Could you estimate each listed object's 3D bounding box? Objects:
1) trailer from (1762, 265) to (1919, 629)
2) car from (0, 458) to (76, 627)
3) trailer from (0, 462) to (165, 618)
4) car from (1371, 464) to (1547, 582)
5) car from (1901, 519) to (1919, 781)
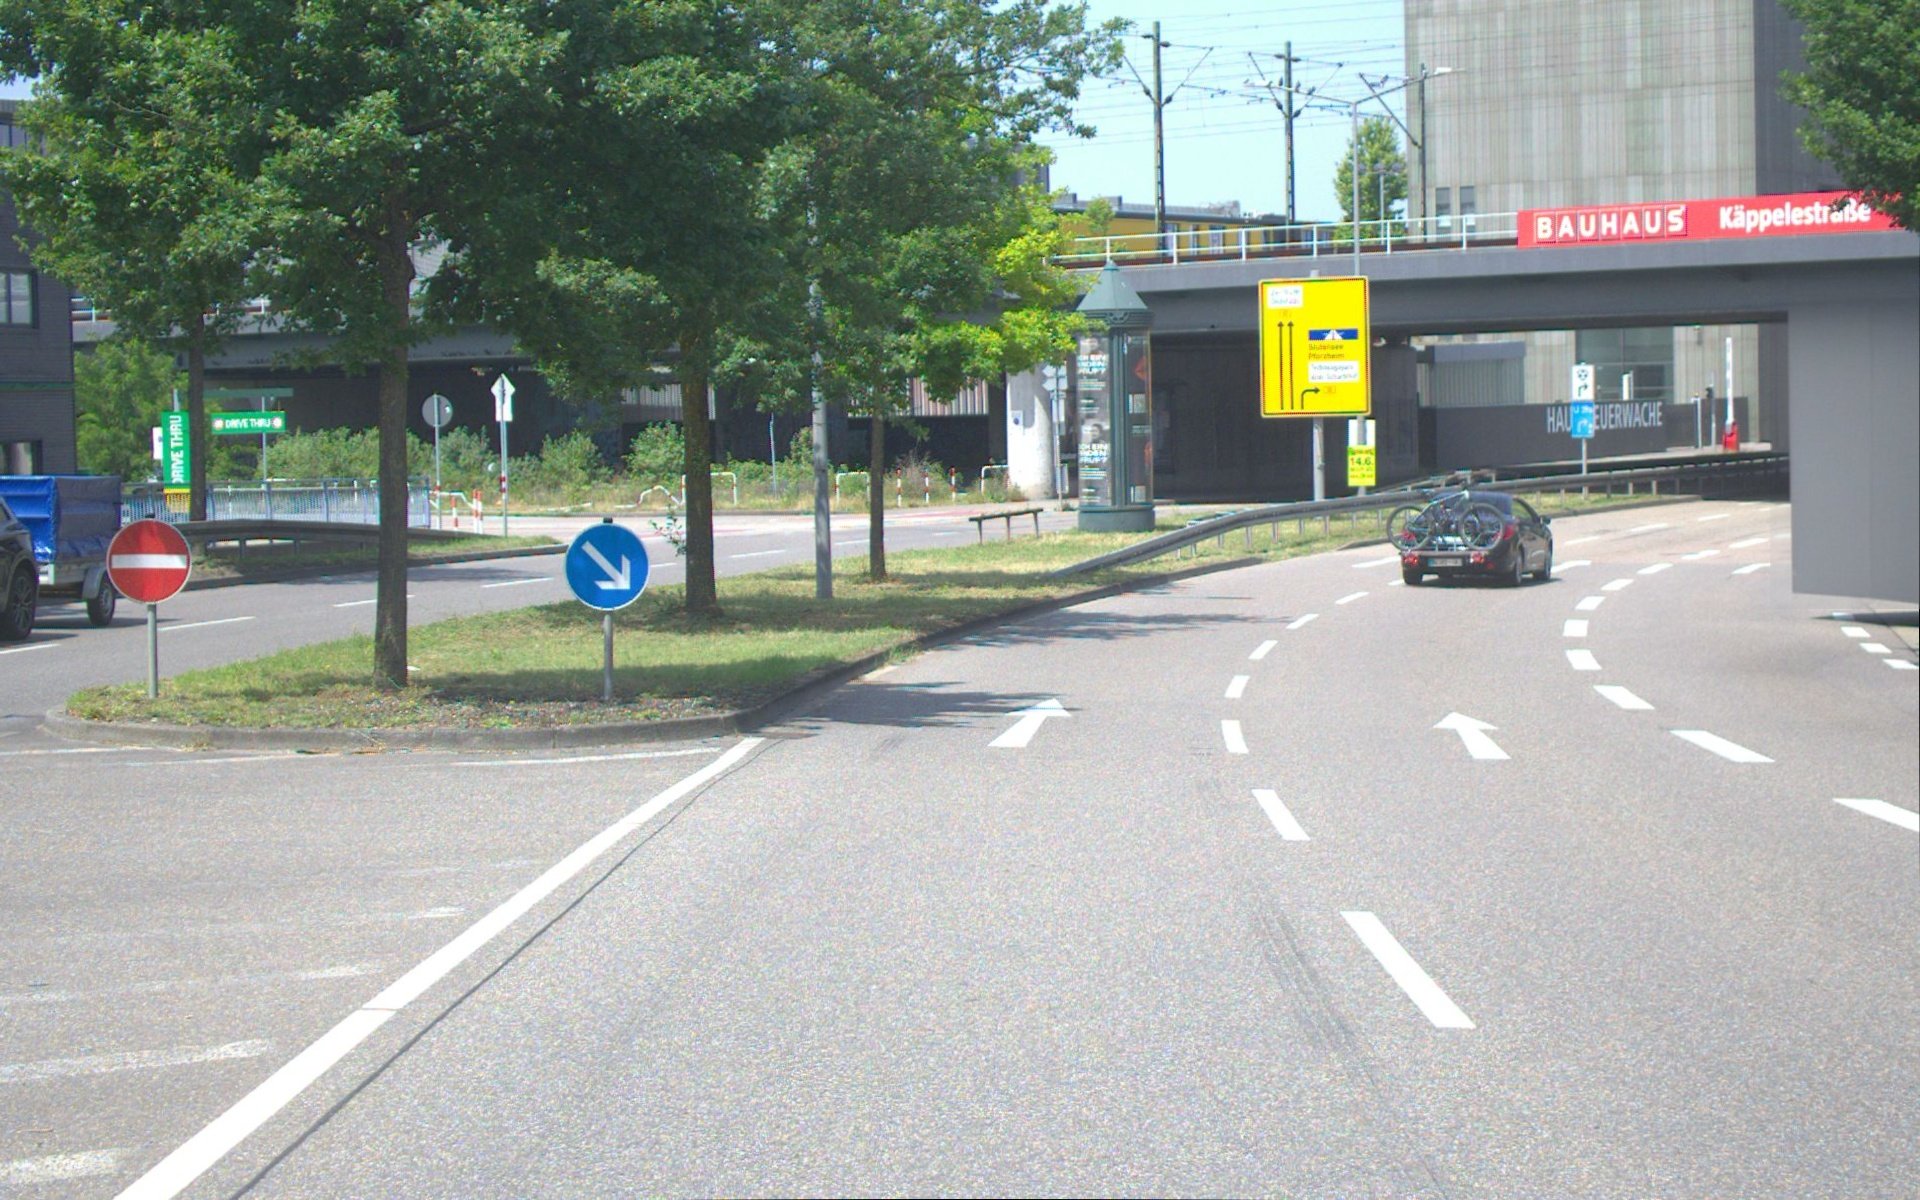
[{"bbox_3d":[16.986,-2.240,46.144,14.730,4.353,3.088,-4,2,-36],"label":"trailer"},{"bbox_3d":[-10.364,-0.572,33.365,1.915,1.646,4.406,1,2,8],"label":"car"},{"bbox_3d":[-9.932,-0.673,37.199,1.505,1.609,3.307,1,2,8],"label":"trailer"},{"bbox_3d":[7.648,-1.217,52.390,1.958,1.628,4.277,1,4,18],"label":"car"},{"bbox_3d":[6.679,0.340,19.346,1.767,1.593,4.077,0,1,2],"label":"car"}]
